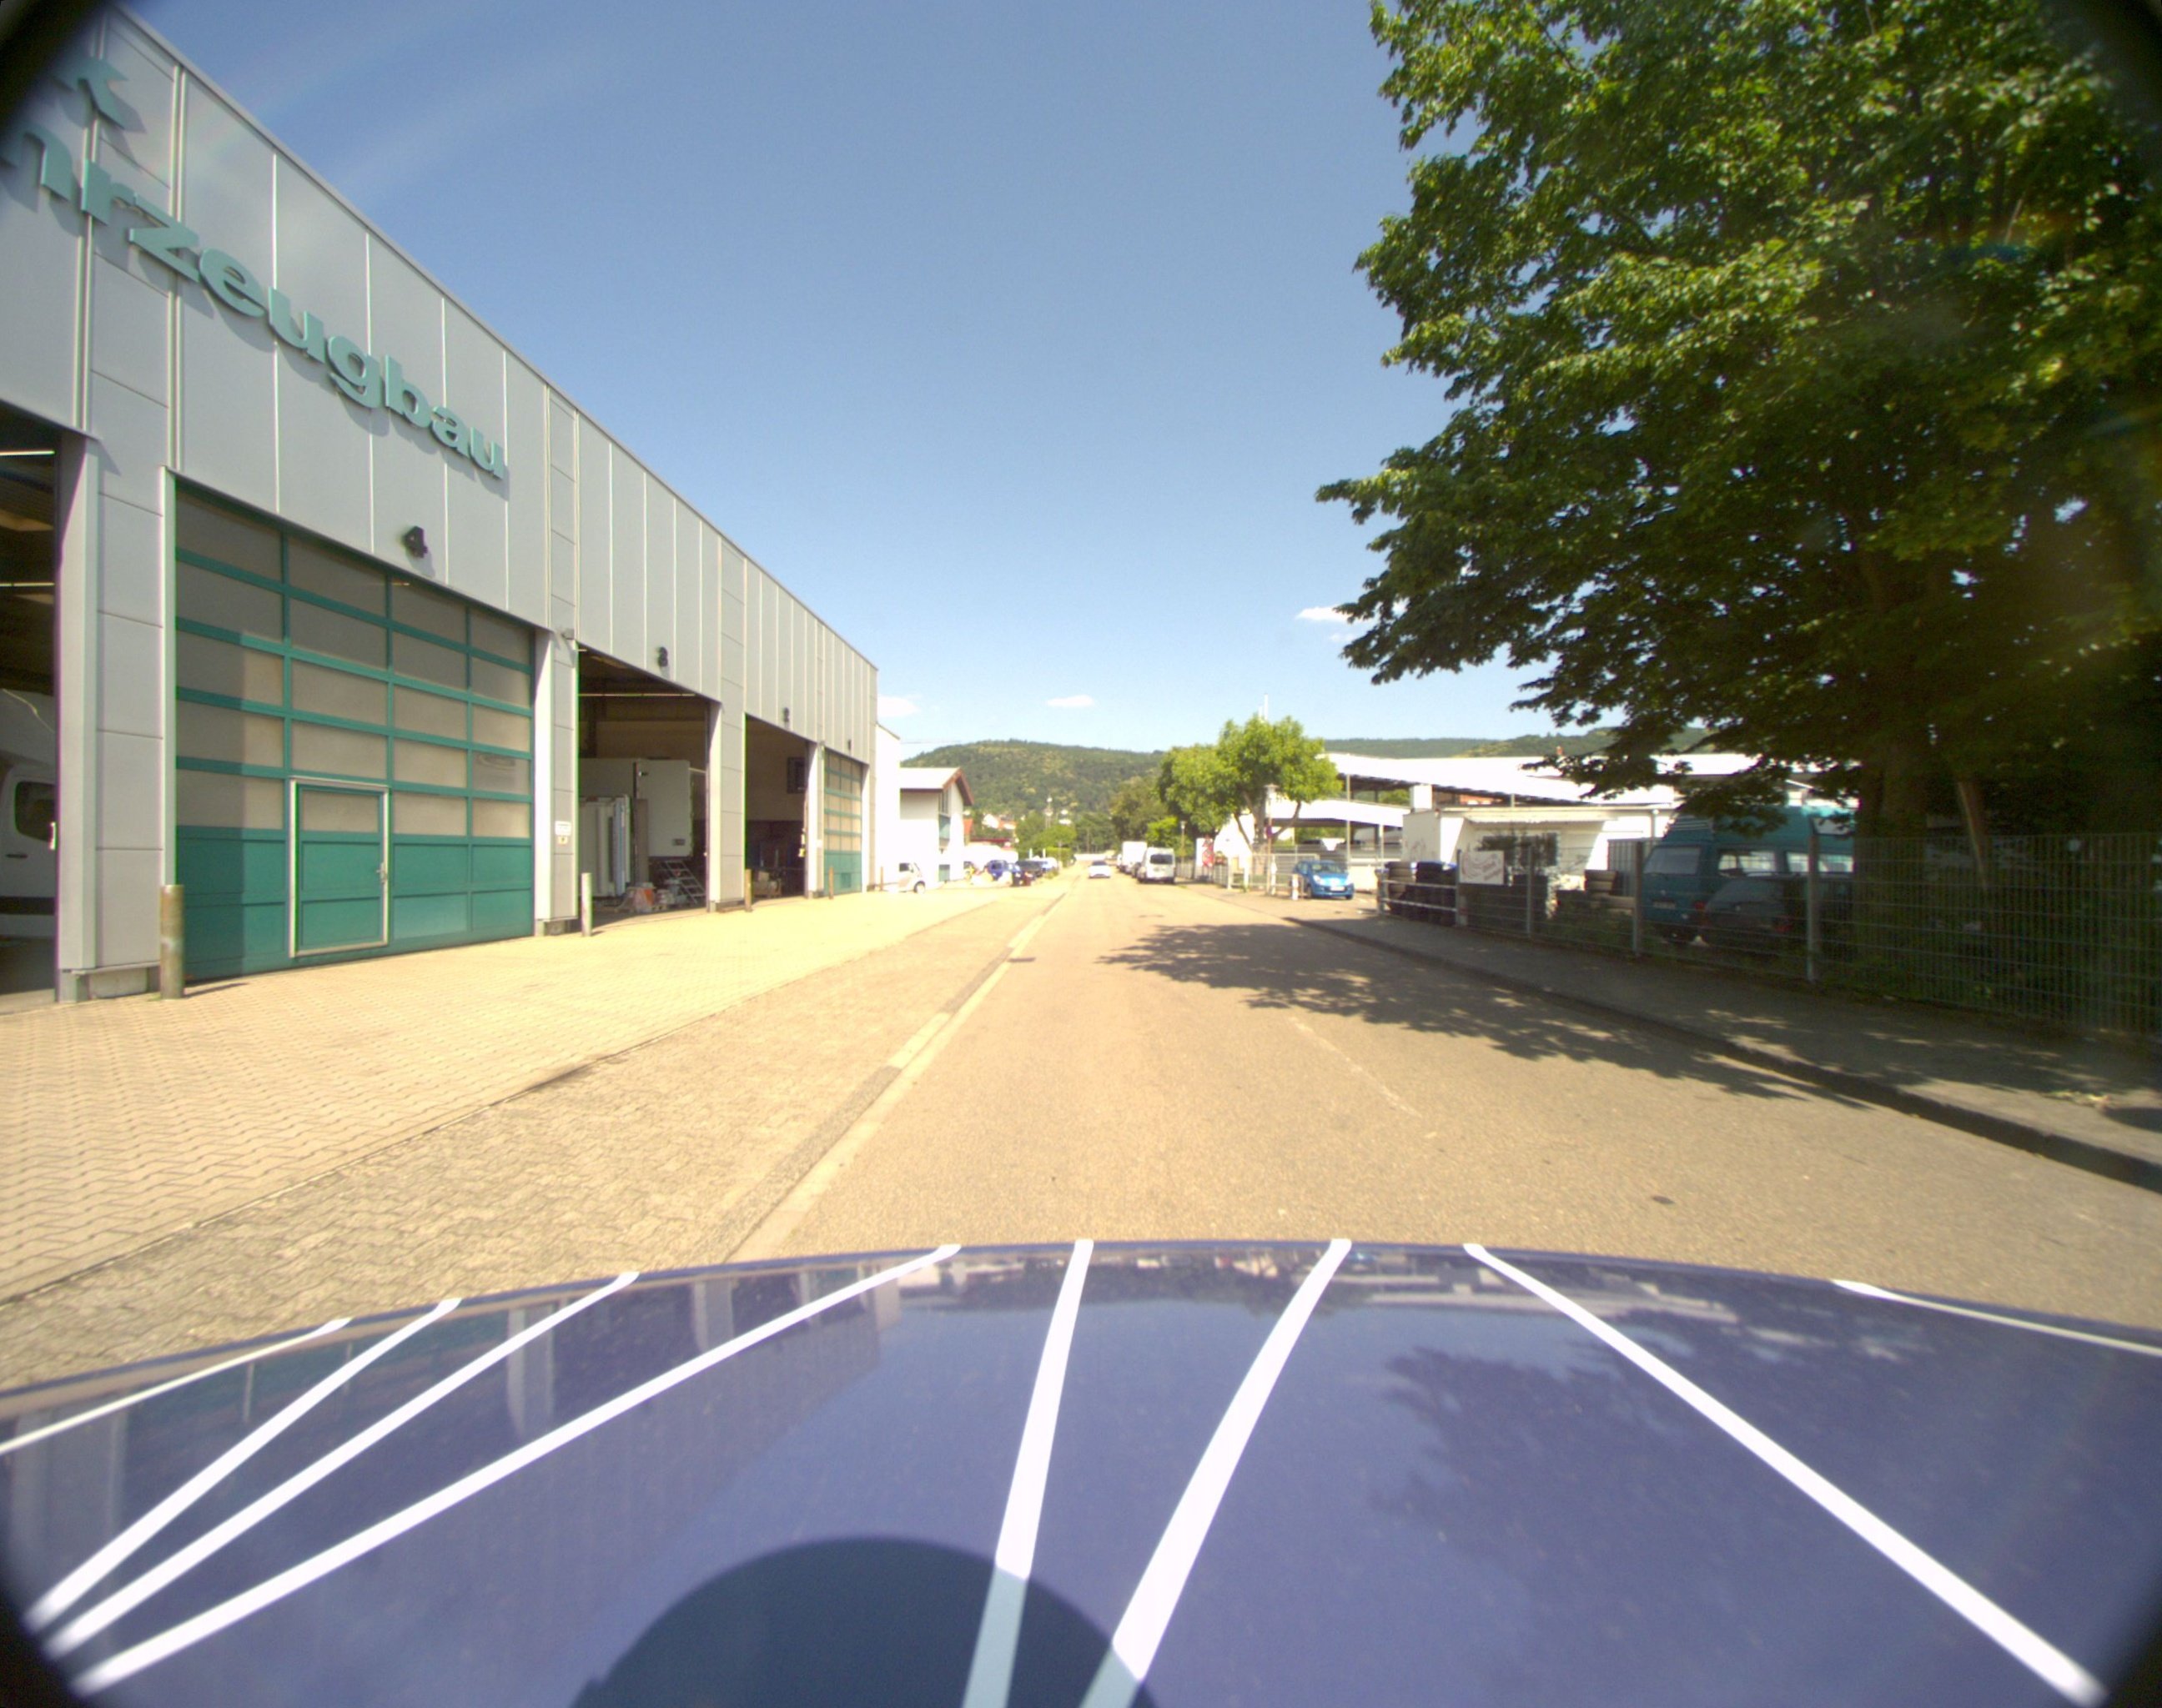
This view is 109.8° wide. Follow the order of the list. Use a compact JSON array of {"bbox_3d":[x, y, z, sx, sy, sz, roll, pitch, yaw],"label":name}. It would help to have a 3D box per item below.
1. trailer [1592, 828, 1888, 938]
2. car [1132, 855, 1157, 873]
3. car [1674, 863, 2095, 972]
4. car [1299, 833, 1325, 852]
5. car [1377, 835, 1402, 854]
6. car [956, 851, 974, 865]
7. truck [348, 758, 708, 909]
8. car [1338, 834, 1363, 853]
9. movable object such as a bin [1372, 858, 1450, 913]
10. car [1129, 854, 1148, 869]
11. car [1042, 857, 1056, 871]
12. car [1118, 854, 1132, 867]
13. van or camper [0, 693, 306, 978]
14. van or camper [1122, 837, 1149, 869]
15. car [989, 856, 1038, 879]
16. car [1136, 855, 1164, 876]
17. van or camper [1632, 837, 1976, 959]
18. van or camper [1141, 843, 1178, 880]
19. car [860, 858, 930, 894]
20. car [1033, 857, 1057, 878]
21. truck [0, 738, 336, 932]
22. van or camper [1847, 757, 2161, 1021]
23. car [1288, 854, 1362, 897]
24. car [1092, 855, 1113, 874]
[{"bbox_3d":[14.503,0.593,16.959,4.781,2.143,2.000,-2,1,2],"label":"trailer"},{"bbox_3d":[5.354,0.825,64.435,1.708,1.449,3.524,-2,1,-1],"label":"car"},{"bbox_3d":[11.271,0.841,10.948,3.924,1.378,1.860,0,0,5],"label":"car"},{"bbox_3d":[18.650,-0.908,61.291,1.705,1.449,3.531,0,0,22],"label":"car"},{"bbox_3d":[24.591,-0.781,60.560,1.705,1.449,3.530,-2,1,22],"label":"car"},{"bbox_3d":[-12.411,0.389,81.205,1.452,1.371,3.186,-2,1,-2],"label":"car"},{"bbox_3d":[-14.631,-0.536,20.489,7.854,3.760,2.625,1,1,2],"label":"truck"},{"bbox_3d":[21.632,-0.853,60.939,1.705,1.449,3.530,-2,1,22],"label":"car"},{"bbox_3d":[8.954,0.833,20.753,1.383,1.350,2.104,-2,1,7],"label":"movable object such as a bin"},{"bbox_3d":[5.709,0.708,75.552,1.708,1.449,3.525,1,0,1],"label":"car"},{"bbox_3d":[-3.433,1.002,81.119,1.452,1.371,3.186,-2,1,-2],"label":"car"},{"bbox_3d":[6.062,0.867,105.030,1.708,1.564,3.524,-2,1,-1],"label":"car"},{"bbox_3d":[-13.323,-0.202,9.509,5.055,3.187,1.999,0,1,-1],"label":"van or camper"},{"bbox_3d":[5.771,-0.111,81.221,2.525,3.350,5.591,0,0,0],"label":"van or camper"},{"bbox_3d":[-4.403,0.896,49.884,2.975,1.332,1.453,-2,1,2],"label":"car"},{"bbox_3d":[5.241,0.878,57.910,1.708,1.449,3.524,-2,1,-1],"label":"car"},{"bbox_3d":[12.386,0.715,13.246,4.192,1.853,1.774,-2,1,3],"label":"van or camper"},{"bbox_3d":[5.194,0.461,50.954,2.028,2.363,4.685,1,1,0],"label":"van or camper"},{"bbox_3d":[-8.397,0.974,34.400,1.309,1.525,2.829,-1,-1,44],"label":"car"},{"bbox_3d":[-2.880,1.052,60.637,1.453,1.487,3.184,-2,1,-10],"label":"car"},{"bbox_3d":[-19.798,-0.353,14.970,7.571,3.439,2.769,0,0,1],"label":"truck"},{"bbox_3d":[11.740,0.371,8.287,4.666,2.562,1.846,1,1,3],"label":"van or camper"},{"bbox_3d":[9.202,0.765,28.970,1.644,1.449,3.524,-2,1,0],"label":"car"},{"bbox_3d":[1.837,0.856,65.100,1.736,1.521,4.109,0,0,1],"label":"car"}]
